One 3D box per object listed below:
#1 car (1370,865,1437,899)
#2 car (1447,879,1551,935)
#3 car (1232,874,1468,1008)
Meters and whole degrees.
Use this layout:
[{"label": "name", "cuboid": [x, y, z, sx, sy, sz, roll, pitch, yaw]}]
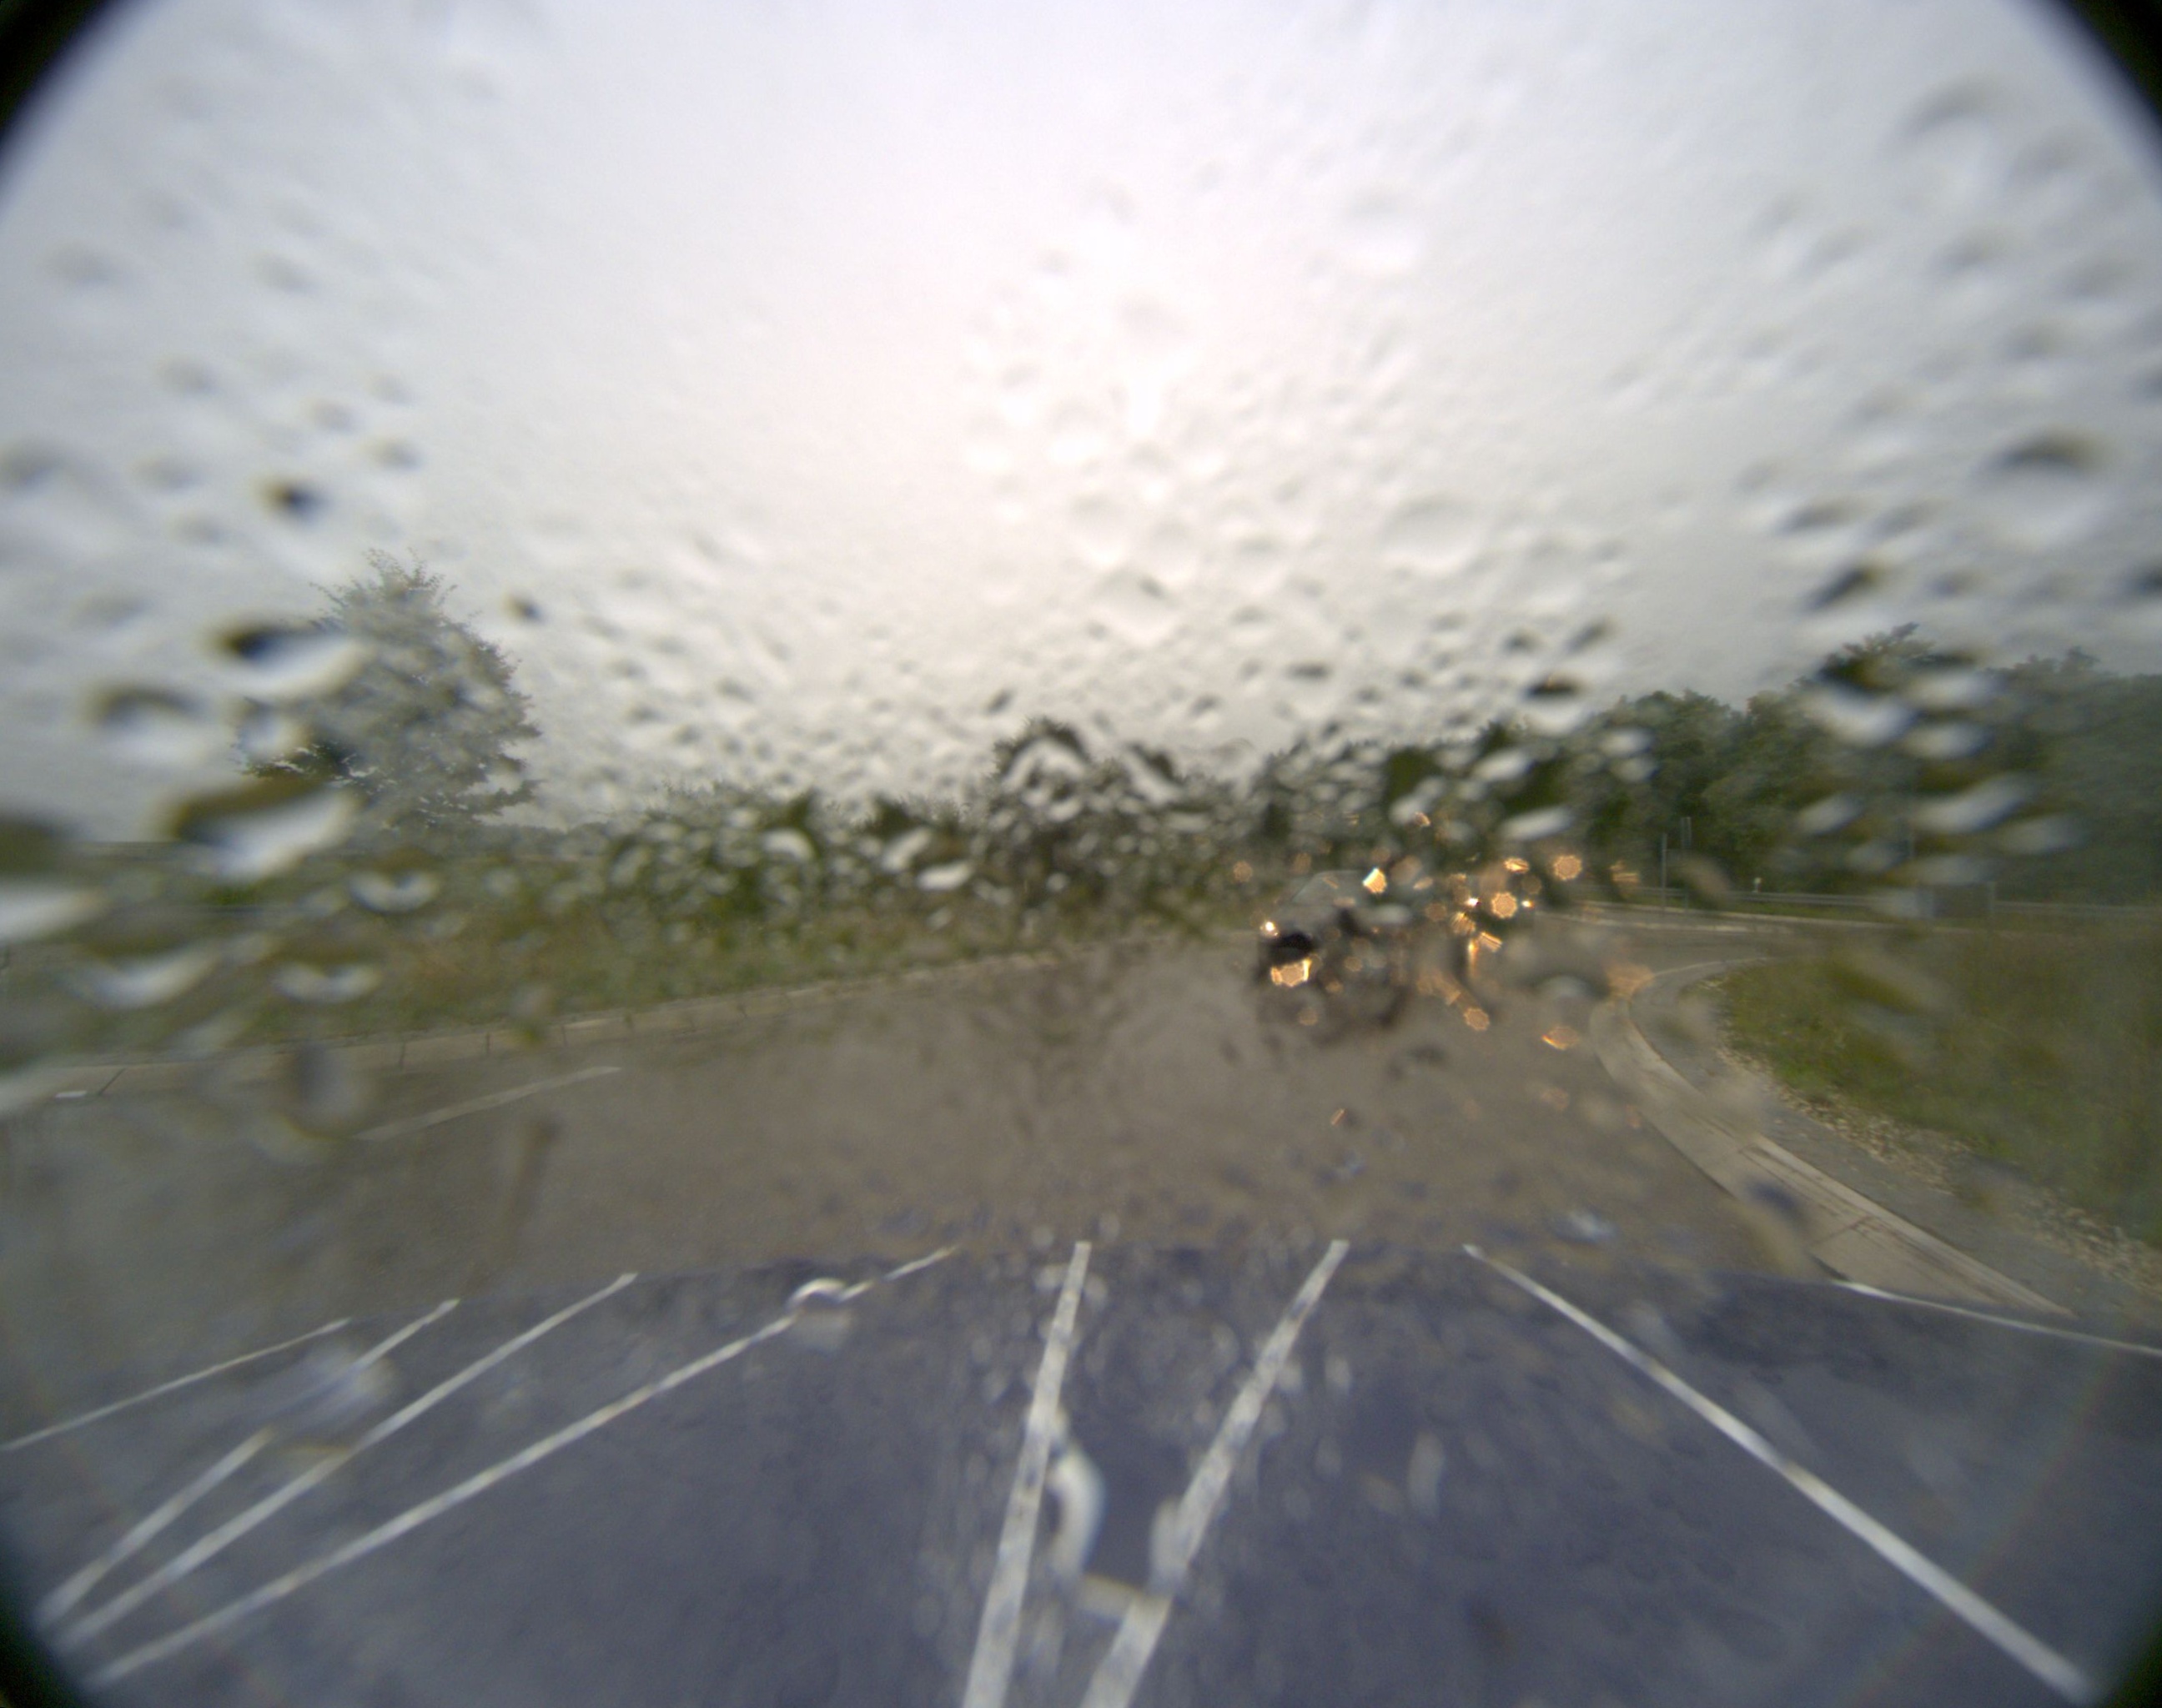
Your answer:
[{"label": "car", "cuboid": [14.626, 1.257, 34.681, 1.761, 1.412, 4.508, 1, -1, 9]}, {"label": "car", "cuboid": [11.771, 1.433, 21.703, 1.945, 1.363, 4.512, 1, -1, 20]}, {"label": "car", "cuboid": [3.991, 1.018, 10.718, 1.869, 1.412, 4.514, 1, -1, 37]}]
